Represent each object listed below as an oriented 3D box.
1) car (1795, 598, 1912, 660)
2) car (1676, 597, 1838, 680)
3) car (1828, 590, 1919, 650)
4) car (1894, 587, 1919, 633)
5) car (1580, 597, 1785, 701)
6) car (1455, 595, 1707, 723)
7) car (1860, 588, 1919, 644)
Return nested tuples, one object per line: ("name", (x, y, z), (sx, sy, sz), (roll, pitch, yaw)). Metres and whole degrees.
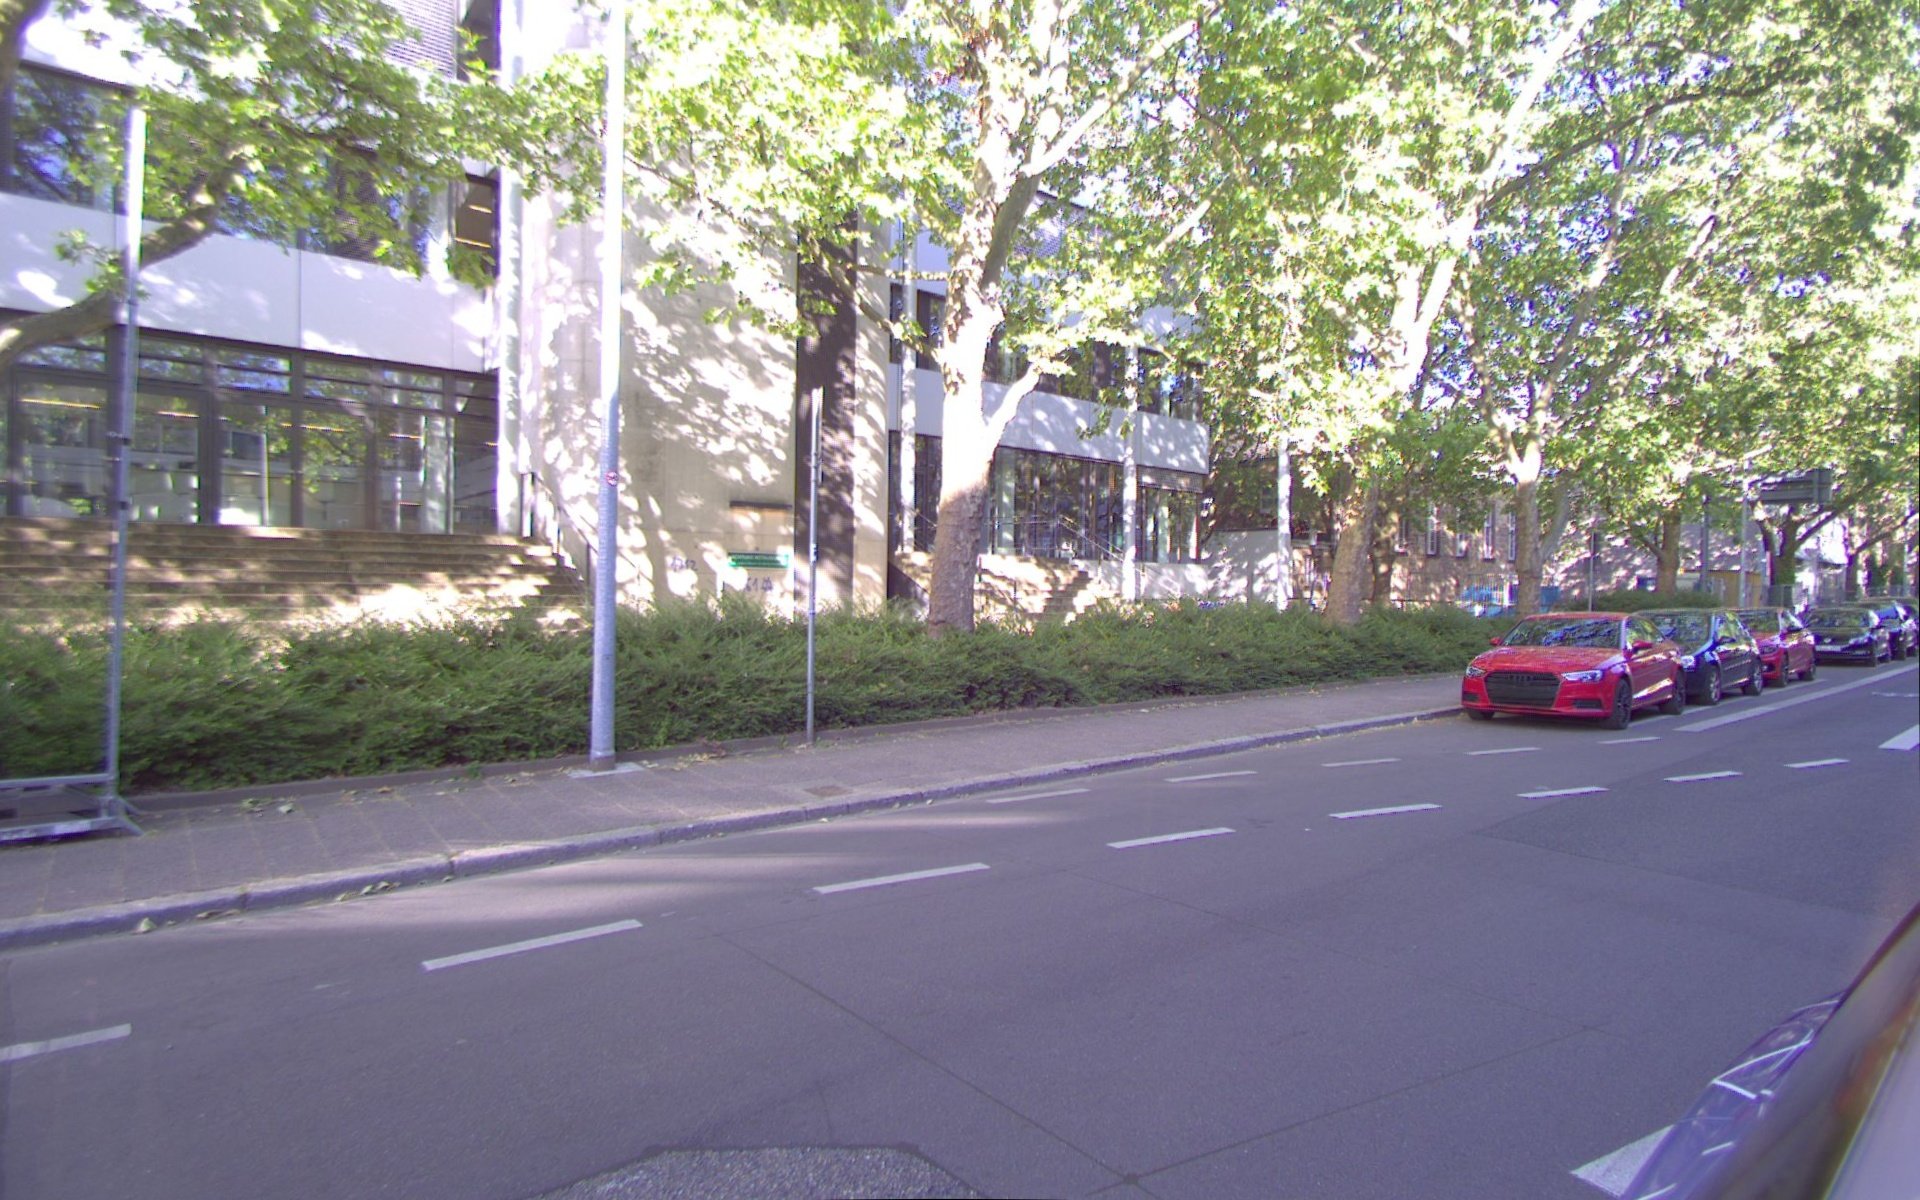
("car", (22.981, 0.678, 25.994), (3.930, 1.456, 1.744), (0, 1, -41))
("car", (15.737, 0.681, 19.914), (3.930, 1.456, 1.789), (0, 1, -41))
("car", (26.645, 0.522, 29.192), (4.158, 1.601, 1.847), (0, 1, -41))
("car", (35.738, 0.359, 37.074), (4.004, 1.638, 1.797), (0, 1, -41))
("car", (11.926, 0.706, 16.624), (3.929, 1.476, 1.812), (0, 1, -40))
("car", (8.384, 0.672, 13.516), (4.101, 1.443, 1.773), (0, -1, -42))
("car", (31.080, 0.478, 33.053), (4.188, 1.747, 1.997), (-1, 0, -41))
